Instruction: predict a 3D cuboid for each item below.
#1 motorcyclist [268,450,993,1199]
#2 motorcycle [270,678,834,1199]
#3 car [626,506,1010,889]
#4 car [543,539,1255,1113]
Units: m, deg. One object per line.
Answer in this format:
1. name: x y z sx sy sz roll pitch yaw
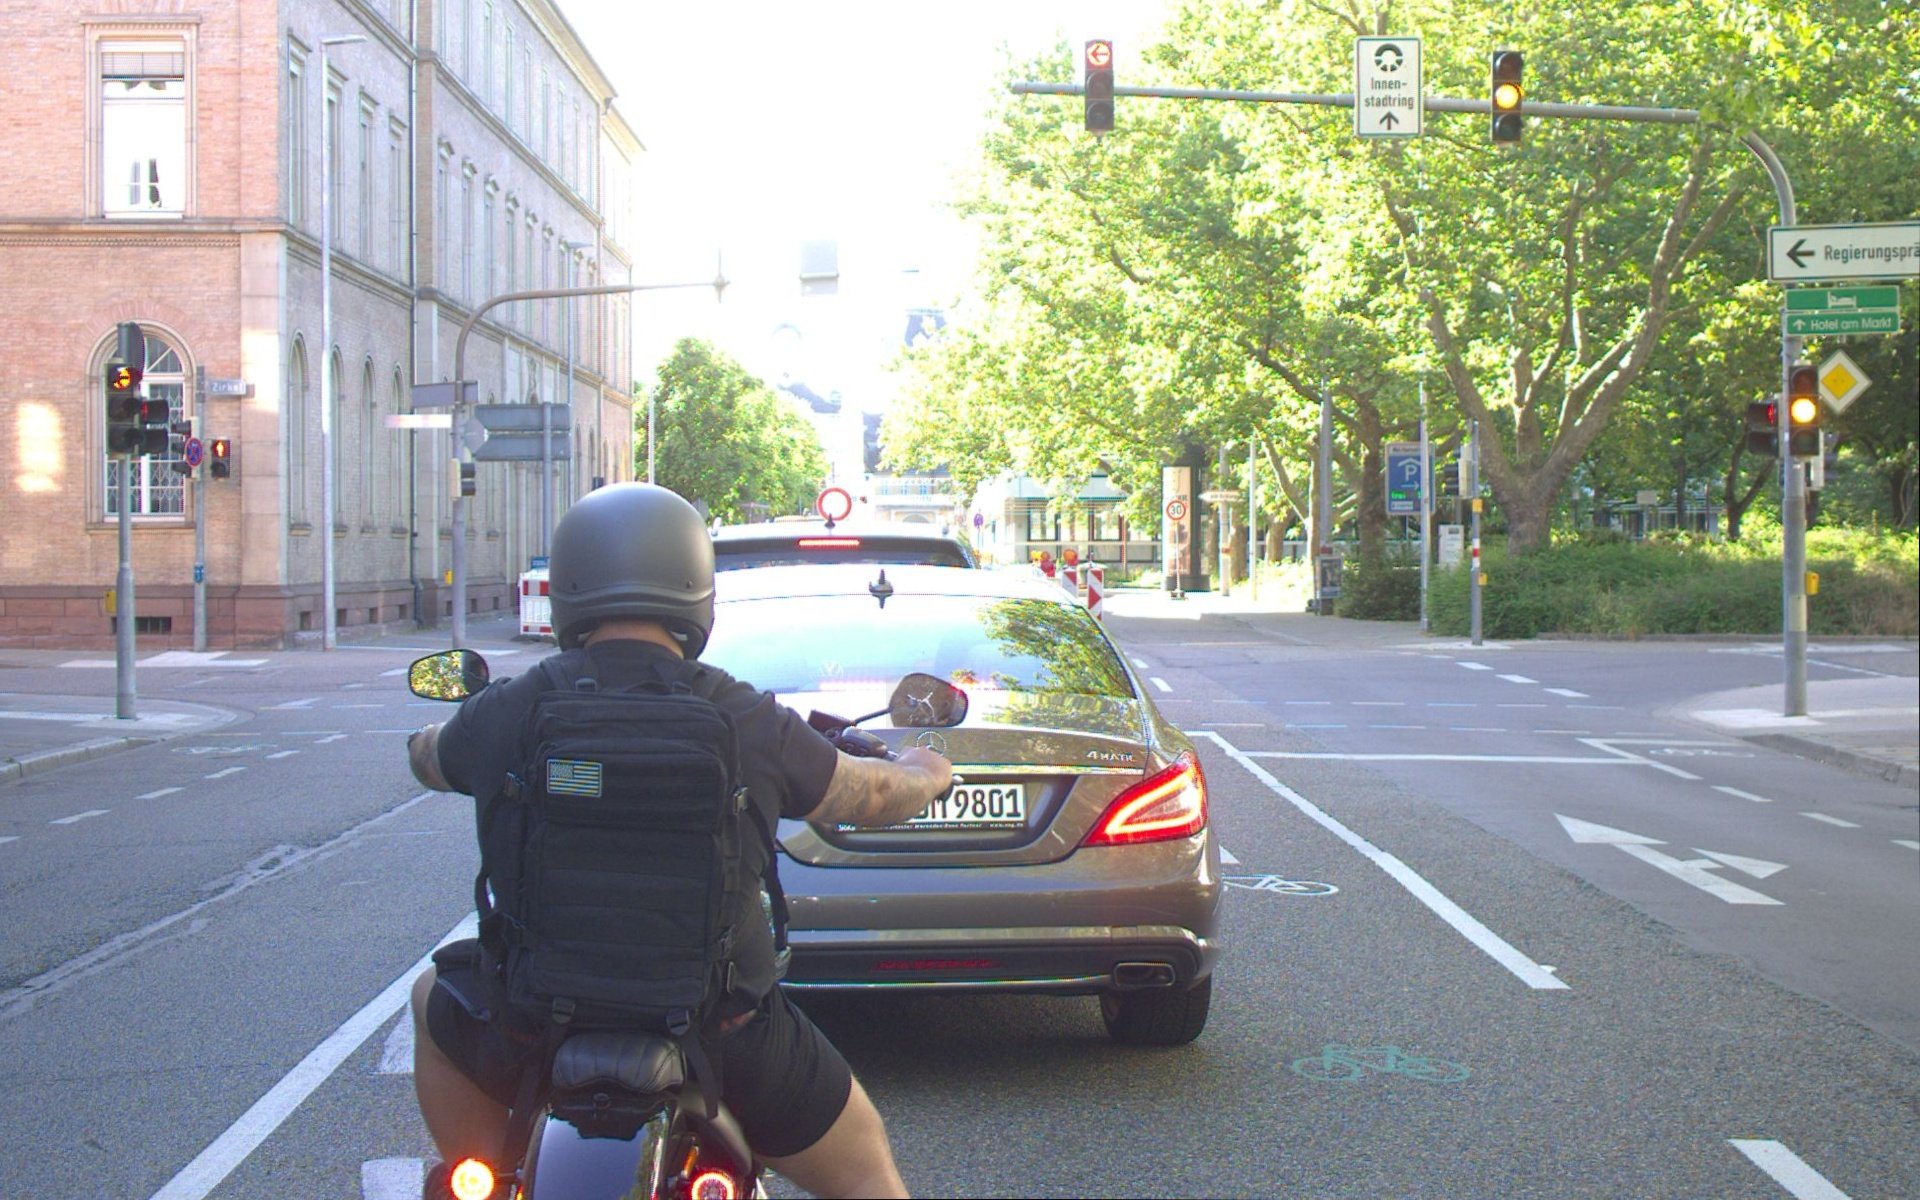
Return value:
1. motorcyclist: -0.467 0.597 5.328 0.990 1.605 1.120 1 0 -1
2. motorcycle: -0.564 0.779 5.422 0.660 1.236 2.058 1 1 -1
3. car: -0.638 0.406 16.973 1.651 1.646 4.000 1 1 -1
4. car: -0.408 0.569 11.128 1.824 1.481 4.334 1 1 -7
